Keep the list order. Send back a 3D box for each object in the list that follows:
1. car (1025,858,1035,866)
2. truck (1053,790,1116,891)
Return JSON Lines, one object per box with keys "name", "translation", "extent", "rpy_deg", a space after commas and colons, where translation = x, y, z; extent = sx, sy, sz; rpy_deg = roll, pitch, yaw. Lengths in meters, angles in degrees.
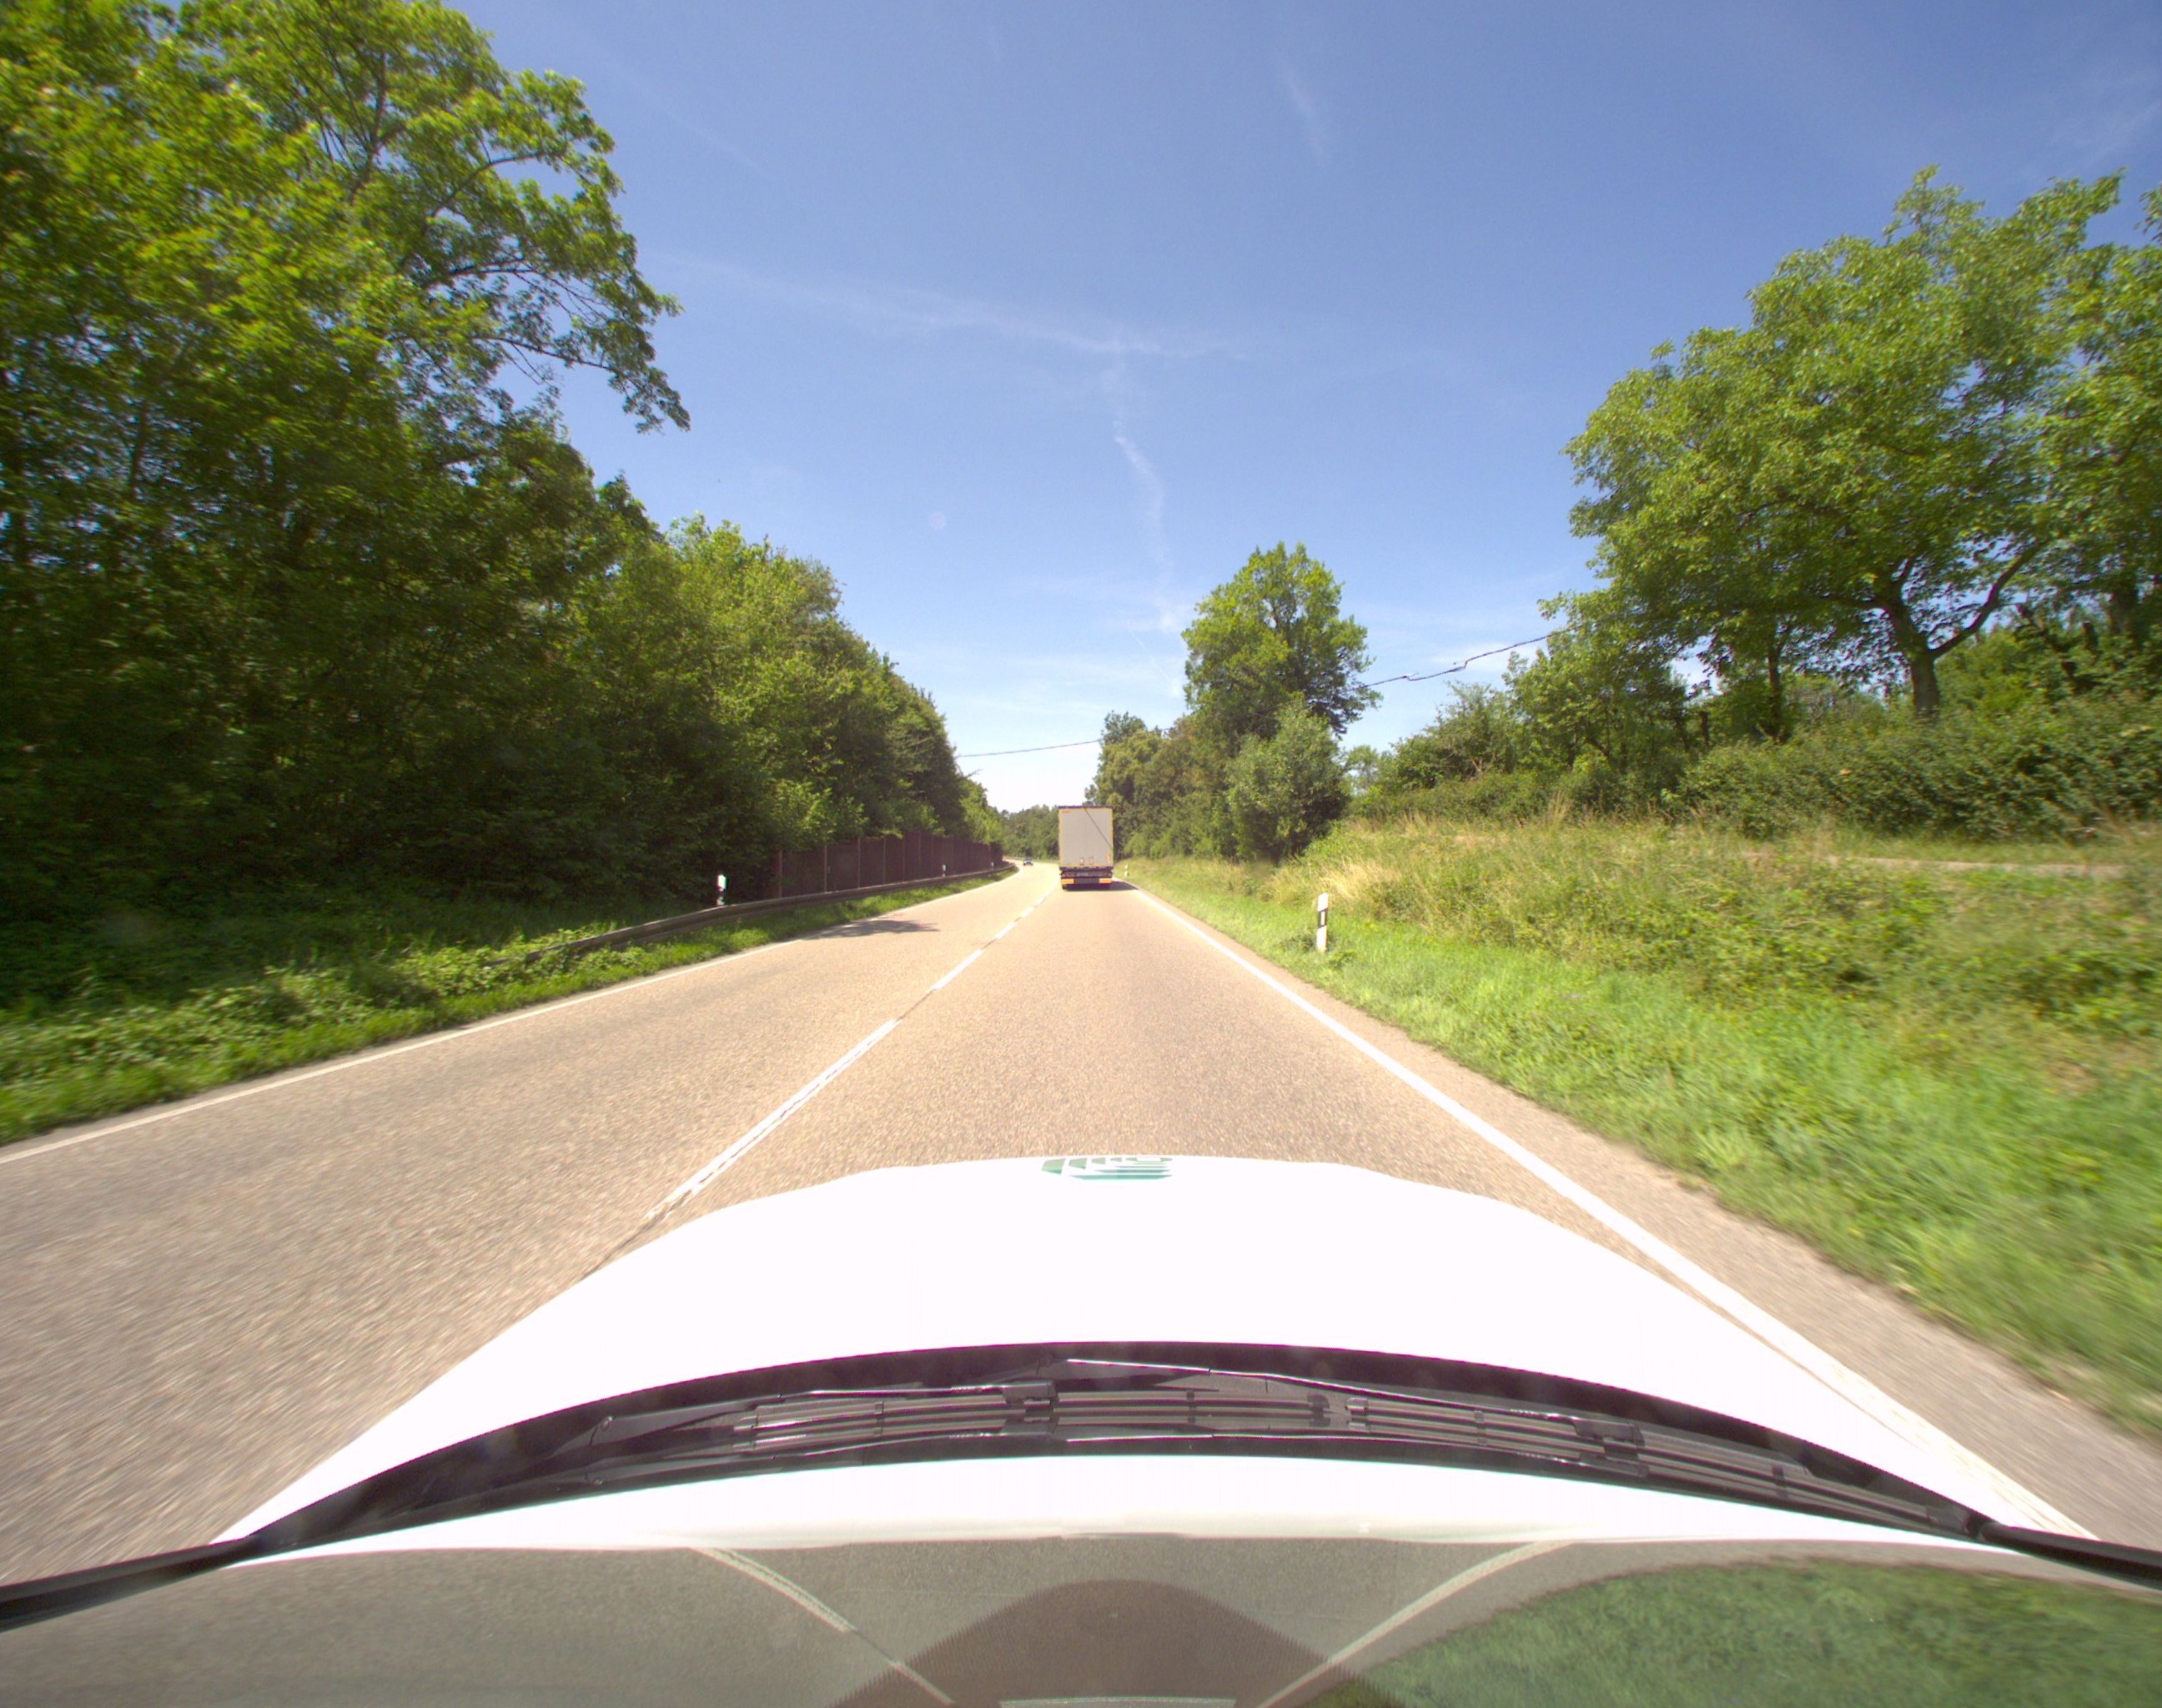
{"name": "car", "translation": [-10.060, 1.481, 159.654], "extent": [1.616, 1.491, 3.607], "rpy_deg": [-1, 0, -8]}
{"name": "truck", "translation": [0.285, -0.552, 40.853], "extent": [2.811, 4.604, 6.669], "rpy_deg": [-1, -1, 3]}
